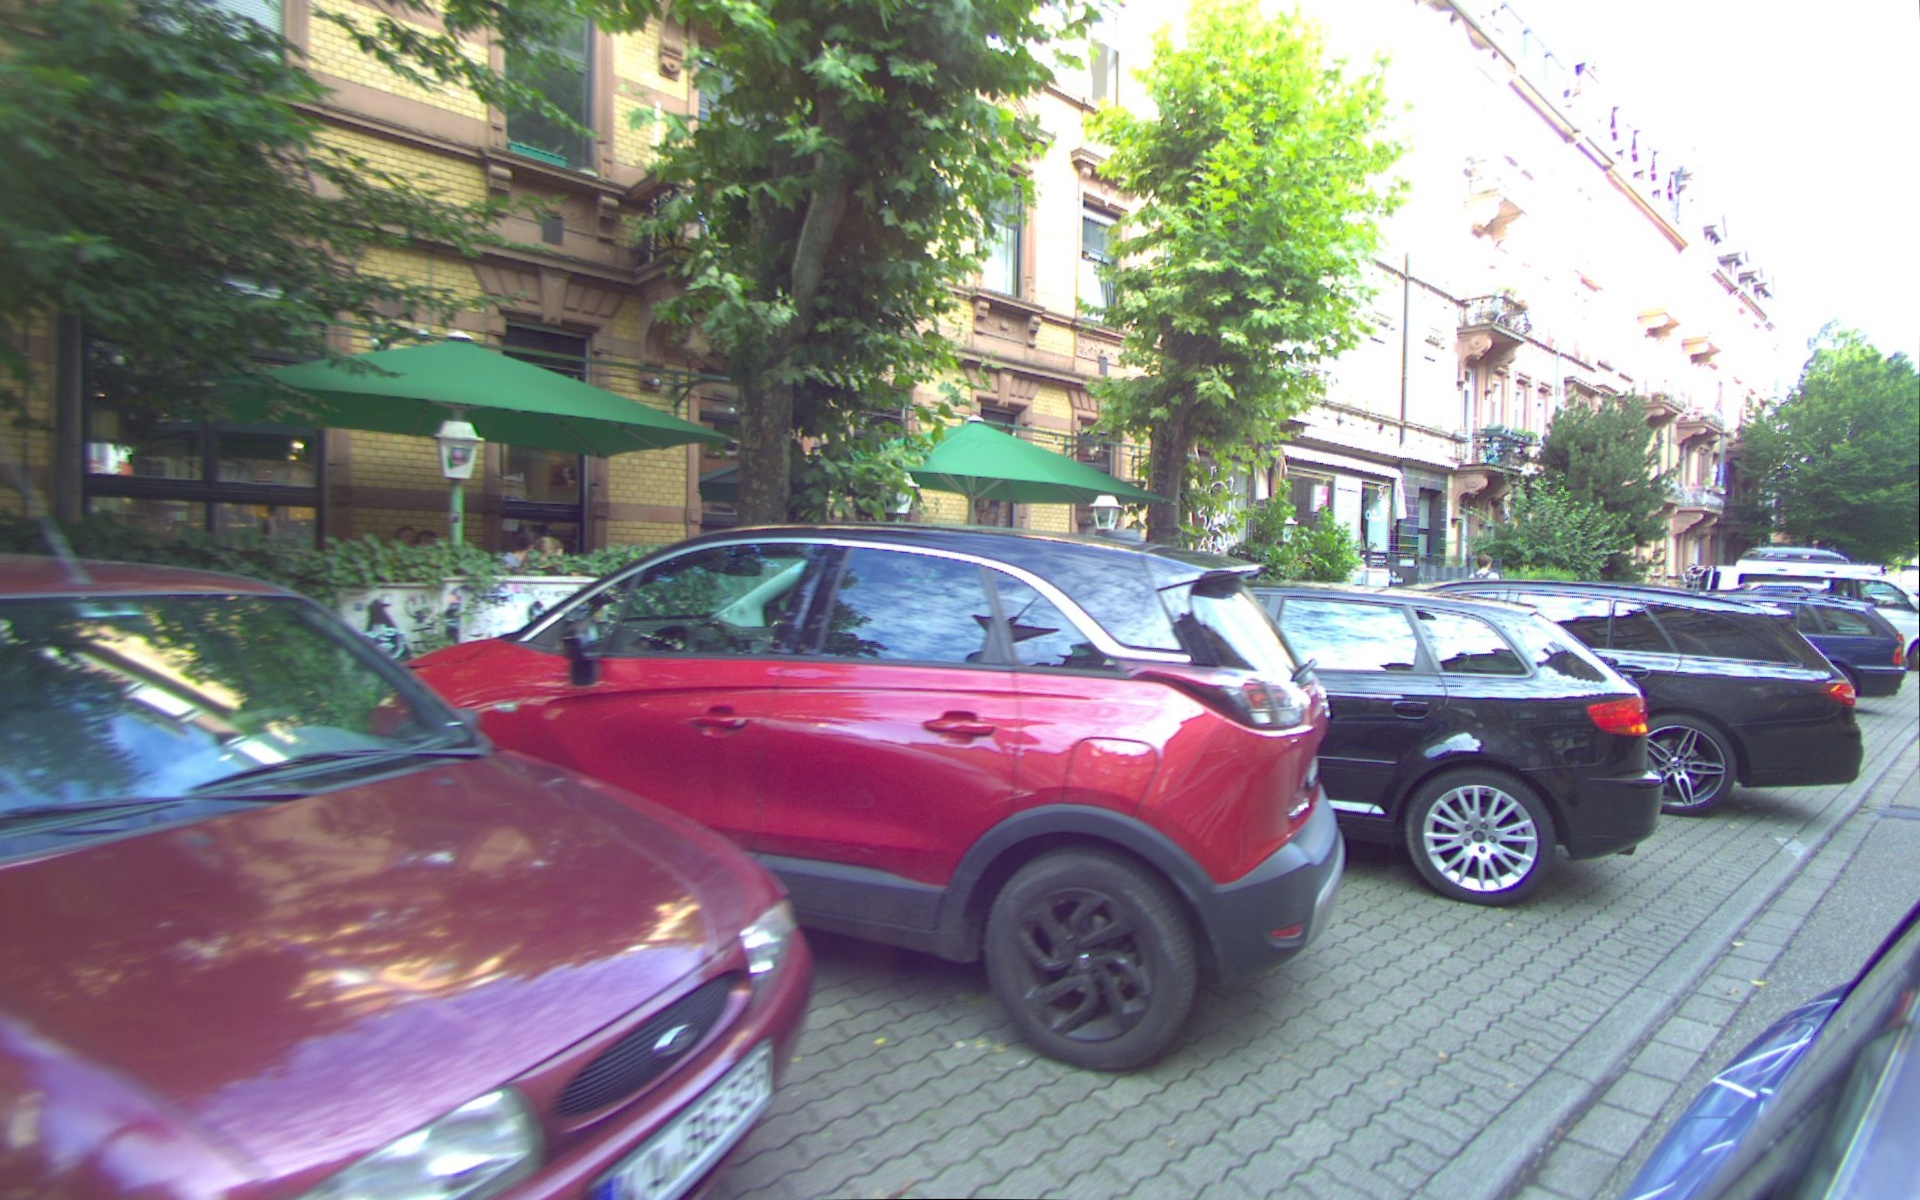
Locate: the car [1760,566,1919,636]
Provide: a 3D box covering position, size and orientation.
[{"bbox_3d":[27.462,0.044,30.737,1.779,1.806,4.645,3,2,-43],"label":"car"}]

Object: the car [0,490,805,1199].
[{"bbox_3d":[-2.534,0.554,2.526,3.896,1.475,1.758,2,1,21],"label":"car"}]

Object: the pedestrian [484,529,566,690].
[{"bbox_3d":[-4.469,0.083,10.388,0.628,1.589,0.561,3,2,44],"label":"pedestrian"}]

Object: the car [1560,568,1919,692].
[{"bbox_3d":[12.084,0.405,15.571,4.396,1.495,1.885,4,2,9],"label":"car"}]

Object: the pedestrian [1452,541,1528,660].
[{"bbox_3d":[8.727,-0.012,16.665,0.709,1.901,0.842,1,1,-38],"label":"pedestrian"}]

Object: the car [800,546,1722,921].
[{"bbox_3d":[1.449,0.479,5.882,4.367,1.475,1.927,2,2,24],"label":"car"}]

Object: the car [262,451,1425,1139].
[{"bbox_3d":[-0.549,0.351,4.188,4.306,1.665,1.808,4,2,23],"label":"car"}]

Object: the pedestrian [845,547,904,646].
[{"bbox_3d":[-1.109,-0.052,13.103,0.464,1.234,0.556,5,4,39],"label":"pedestrian"}]

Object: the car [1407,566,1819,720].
[{"bbox_3d":[7.566,0.432,12.103,3.660,1.503,1.736,3,2,10],"label":"car"}]

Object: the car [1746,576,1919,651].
[{"bbox_3d":[22.483,0.316,24.959,4.391,1.754,1.992,1,0,14],"label":"car"}]

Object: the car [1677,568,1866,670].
[{"bbox_3d":[15.635,0.325,19.622,2.441,1.687,1.337,5,2,22],"label":"car"}]

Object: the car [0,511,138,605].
[{"bbox_3d":[-21.133,-0.930,22.229,4.332,1.973,2.005,1,1,-18],"label":"car"}]

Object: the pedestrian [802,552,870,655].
[{"bbox_3d":[-1.551,0.031,12.685,0.486,1.234,0.640,5,4,39],"label":"pedestrian"}]

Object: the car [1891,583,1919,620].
[{"bbox_3d":[47.148,0.144,47.987,3.940,1.720,1.845,2,1,14],"label":"car"}]

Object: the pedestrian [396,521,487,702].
[{"bbox_3d":[-4.765,0.090,9.303,0.628,1.589,0.561,3,2,44],"label":"pedestrian"}]

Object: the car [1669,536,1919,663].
[{"bbox_3d":[18.274,-0.038,21.227,5.087,2.434,1.909,2,2,16],"label":"car"}]

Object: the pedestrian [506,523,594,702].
[{"bbox_3d":[-4.017,0.103,9.909,0.646,1.662,0.555,5,4,44],"label":"pedestrian"}]

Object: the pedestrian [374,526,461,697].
[{"bbox_3d":[-5.257,0.094,9.806,0.628,1.589,0.561,3,2,44],"label":"pedestrian"}]

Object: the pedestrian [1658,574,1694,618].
[{"bbox_3d":[25.660,-0.159,36.257,0.927,1.515,0.800,3,2,41],"label":"pedestrian"}]

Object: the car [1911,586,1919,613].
[{"bbox_3d":[58.895,0.141,58.866,4.742,1.562,1.862,3,3,16],"label":"car"}]

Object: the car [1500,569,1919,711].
[{"bbox_3d":[10.007,0.464,13.612,4.404,1.482,1.872,4,2,14],"label":"car"}]

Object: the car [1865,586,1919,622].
[{"bbox_3d":[42.566,0.261,43.851,4.549,1.469,1.784,3,2,17],"label":"car"}]

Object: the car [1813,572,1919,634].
[{"bbox_3d":[31.036,0.124,33.099,4.344,1.844,1.747,3,3,17],"label":"car"}]

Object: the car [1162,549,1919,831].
[{"bbox_3d":[4.111,0.495,7.783,4.711,1.475,2.043,4,2,21],"label":"car"}]

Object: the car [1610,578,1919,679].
[{"bbox_3d":[13.899,0.438,17.576,3.926,1.477,1.748,3,2,7],"label":"car"}]
